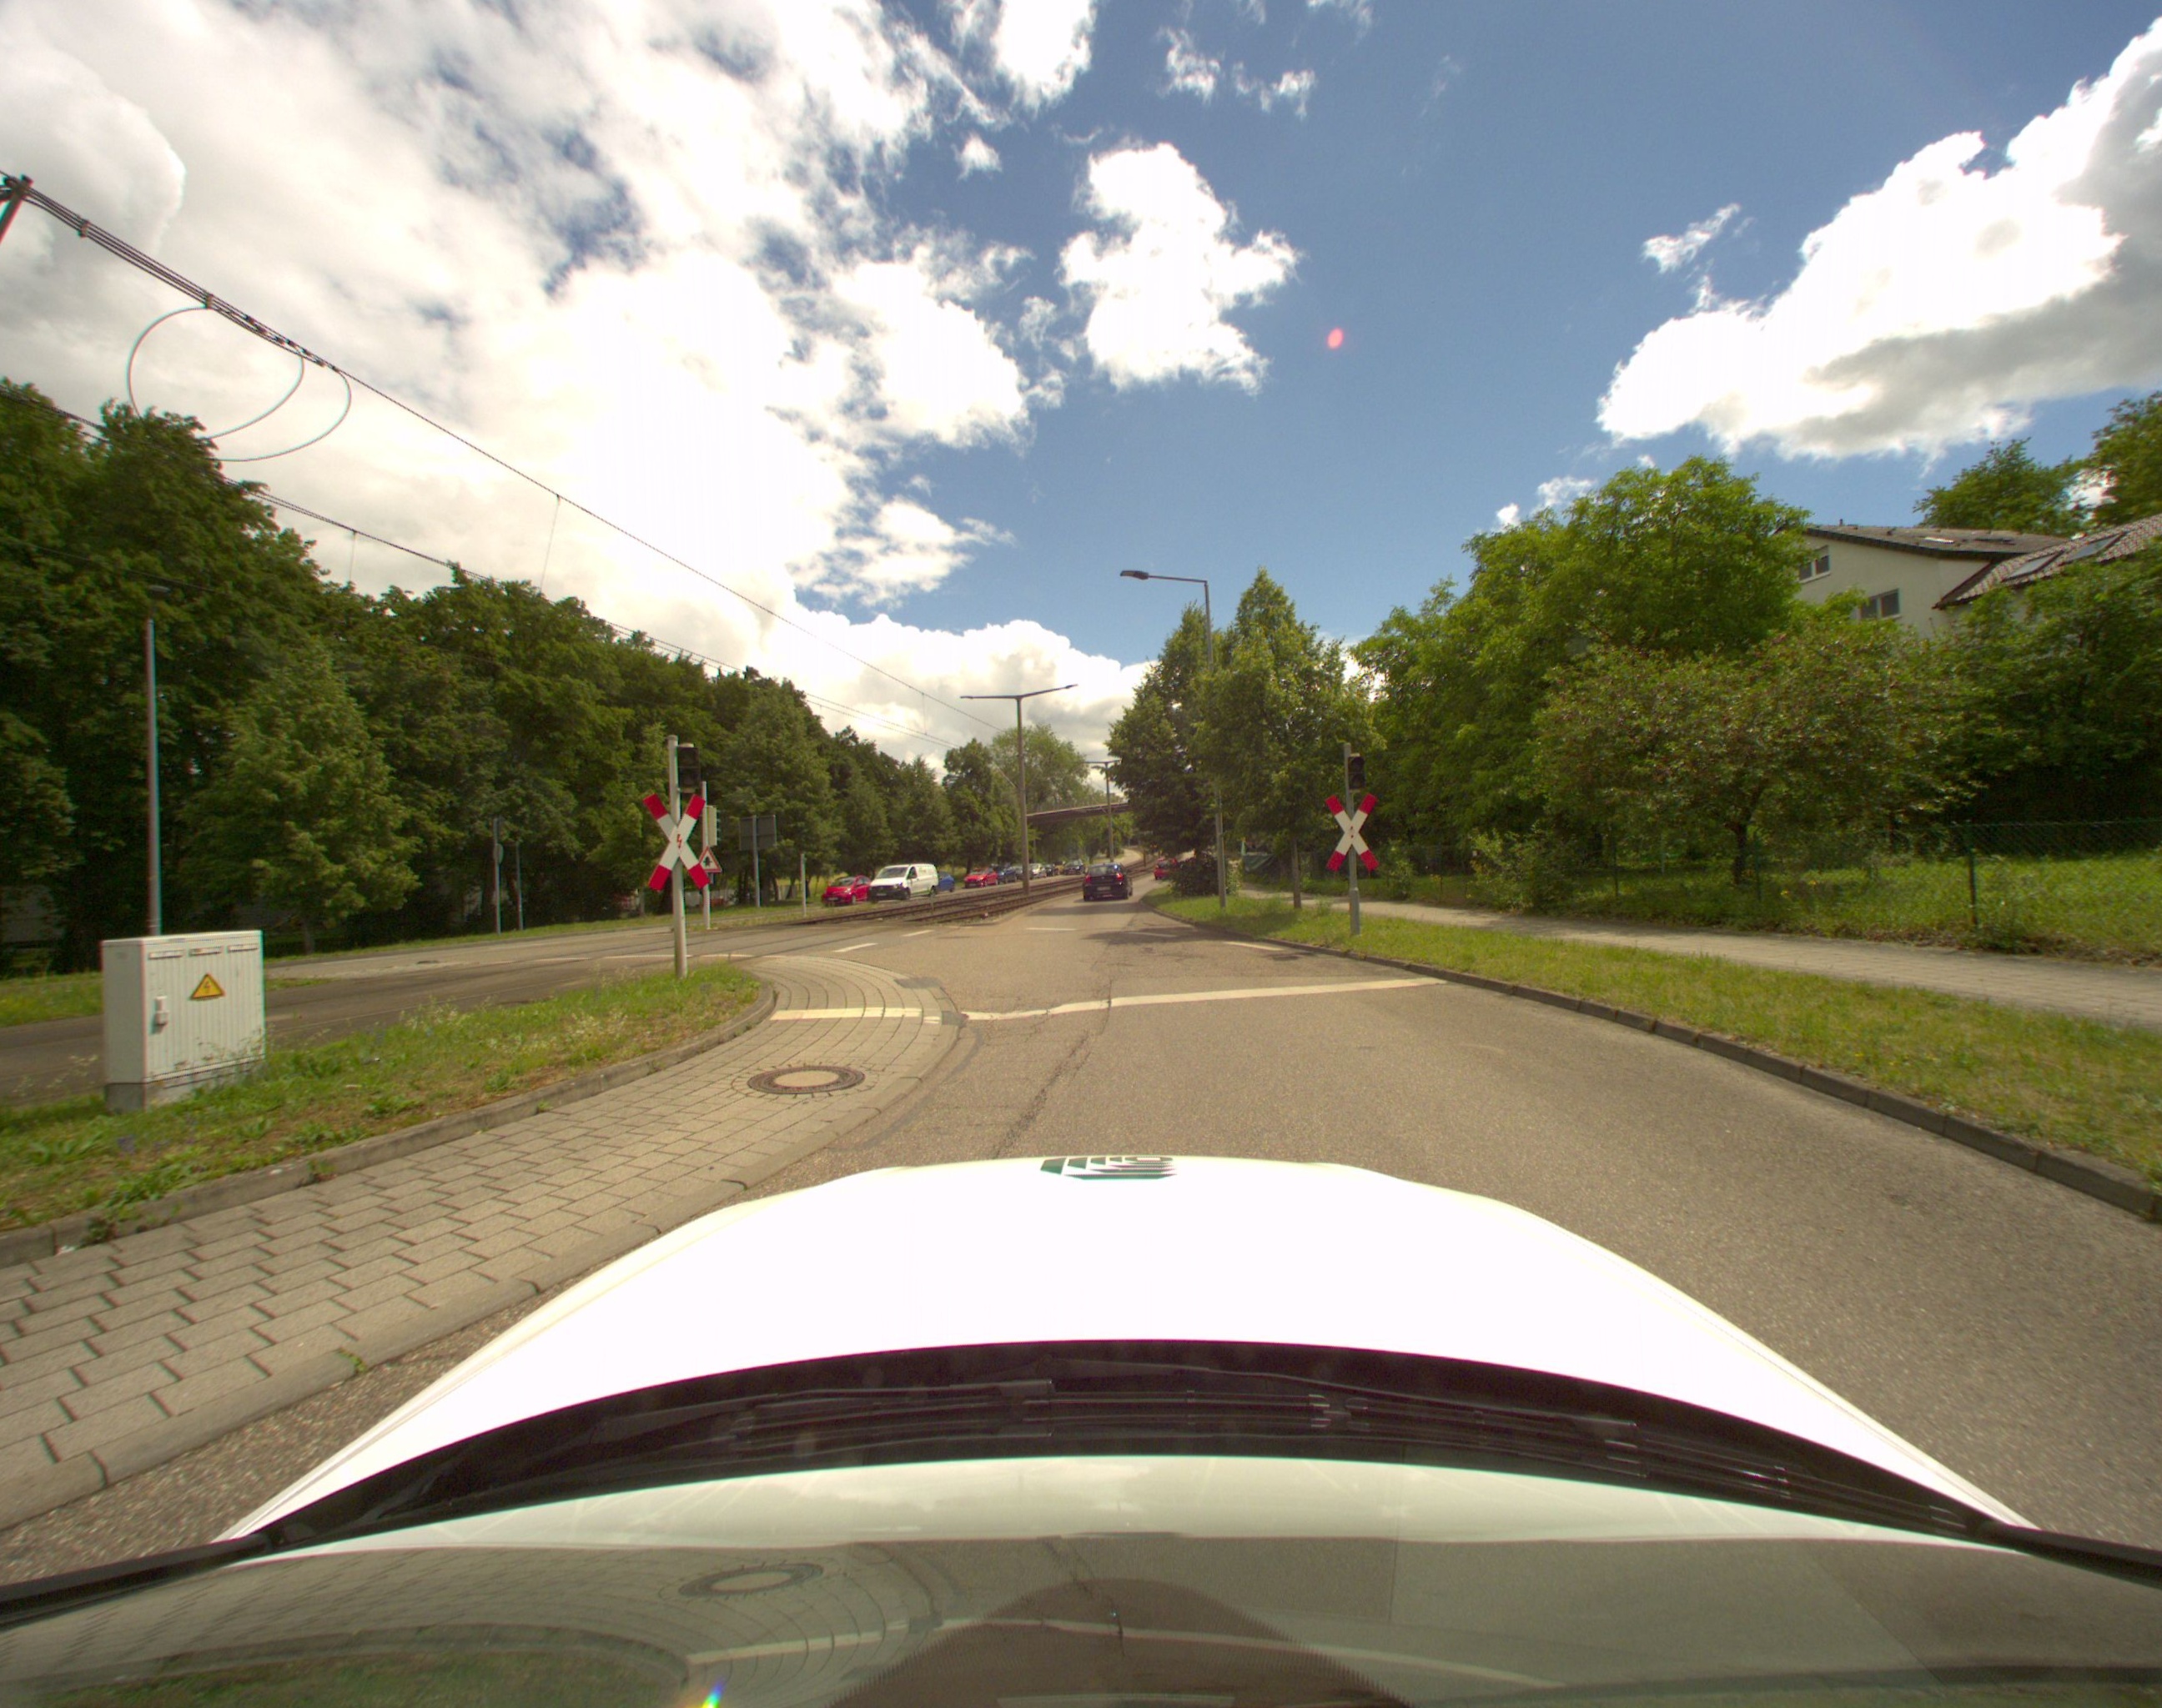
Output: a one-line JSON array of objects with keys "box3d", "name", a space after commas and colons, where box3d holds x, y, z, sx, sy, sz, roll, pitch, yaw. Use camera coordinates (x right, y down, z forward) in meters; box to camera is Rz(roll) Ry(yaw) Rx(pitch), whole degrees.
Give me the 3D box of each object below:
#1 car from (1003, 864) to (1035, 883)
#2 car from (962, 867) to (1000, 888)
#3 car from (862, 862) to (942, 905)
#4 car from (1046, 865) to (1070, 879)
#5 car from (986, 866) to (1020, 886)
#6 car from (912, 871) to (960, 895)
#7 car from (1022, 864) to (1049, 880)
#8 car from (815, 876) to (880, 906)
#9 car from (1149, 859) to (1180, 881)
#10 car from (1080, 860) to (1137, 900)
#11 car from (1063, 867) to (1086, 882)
[{"box3d": [-5.451, 1.715, 72.373, 1.631, 1.622, 4.139, -3, -1, 12], "name": "car"}, {"box3d": [-7.549, 1.806, 61.987, 1.602, 1.494, 4.060, -1, -2, 12], "name": "car"}, {"box3d": [-8.925, 1.470, 41.134, 1.862, 2.019, 5.252, -1, -2, 12], "name": "car"}, {"box3d": [-2.427, 1.919, 87.830, 1.678, 1.450, 3.911, -1, -2, 12], "name": "car"}, {"box3d": [-6.416, 1.801, 67.265, 1.547, 1.596, 4.173, -1, -2, 12], "name": "car"}, {"box3d": [-9.323, 1.839, 52.707, 1.602, 1.461, 4.020, -1, -2, 12], "name": "car"}, {"box3d": [-4.342, 1.737, 78.015, 1.583, 1.494, 4.203, -1, -2, 10], "name": "car"}, {"box3d": [-11.848, 1.846, 41.559, 1.602, 1.452, 3.673, -1, -2, 12], "name": "car"}, {"box3d": [5.806, 1.099, 56.043, 1.612, 1.443, 3.434, -1, -2, 14], "name": "car"}, {"box3d": [1.158, 0.991, 32.124, 1.698, 1.460, 3.971, -1, 0, 10], "name": "car"}, {"box3d": [-0.659, 2.114, 84.230, 1.603, 1.574, 4.012, -1, -2, 11], "name": "car"}]
